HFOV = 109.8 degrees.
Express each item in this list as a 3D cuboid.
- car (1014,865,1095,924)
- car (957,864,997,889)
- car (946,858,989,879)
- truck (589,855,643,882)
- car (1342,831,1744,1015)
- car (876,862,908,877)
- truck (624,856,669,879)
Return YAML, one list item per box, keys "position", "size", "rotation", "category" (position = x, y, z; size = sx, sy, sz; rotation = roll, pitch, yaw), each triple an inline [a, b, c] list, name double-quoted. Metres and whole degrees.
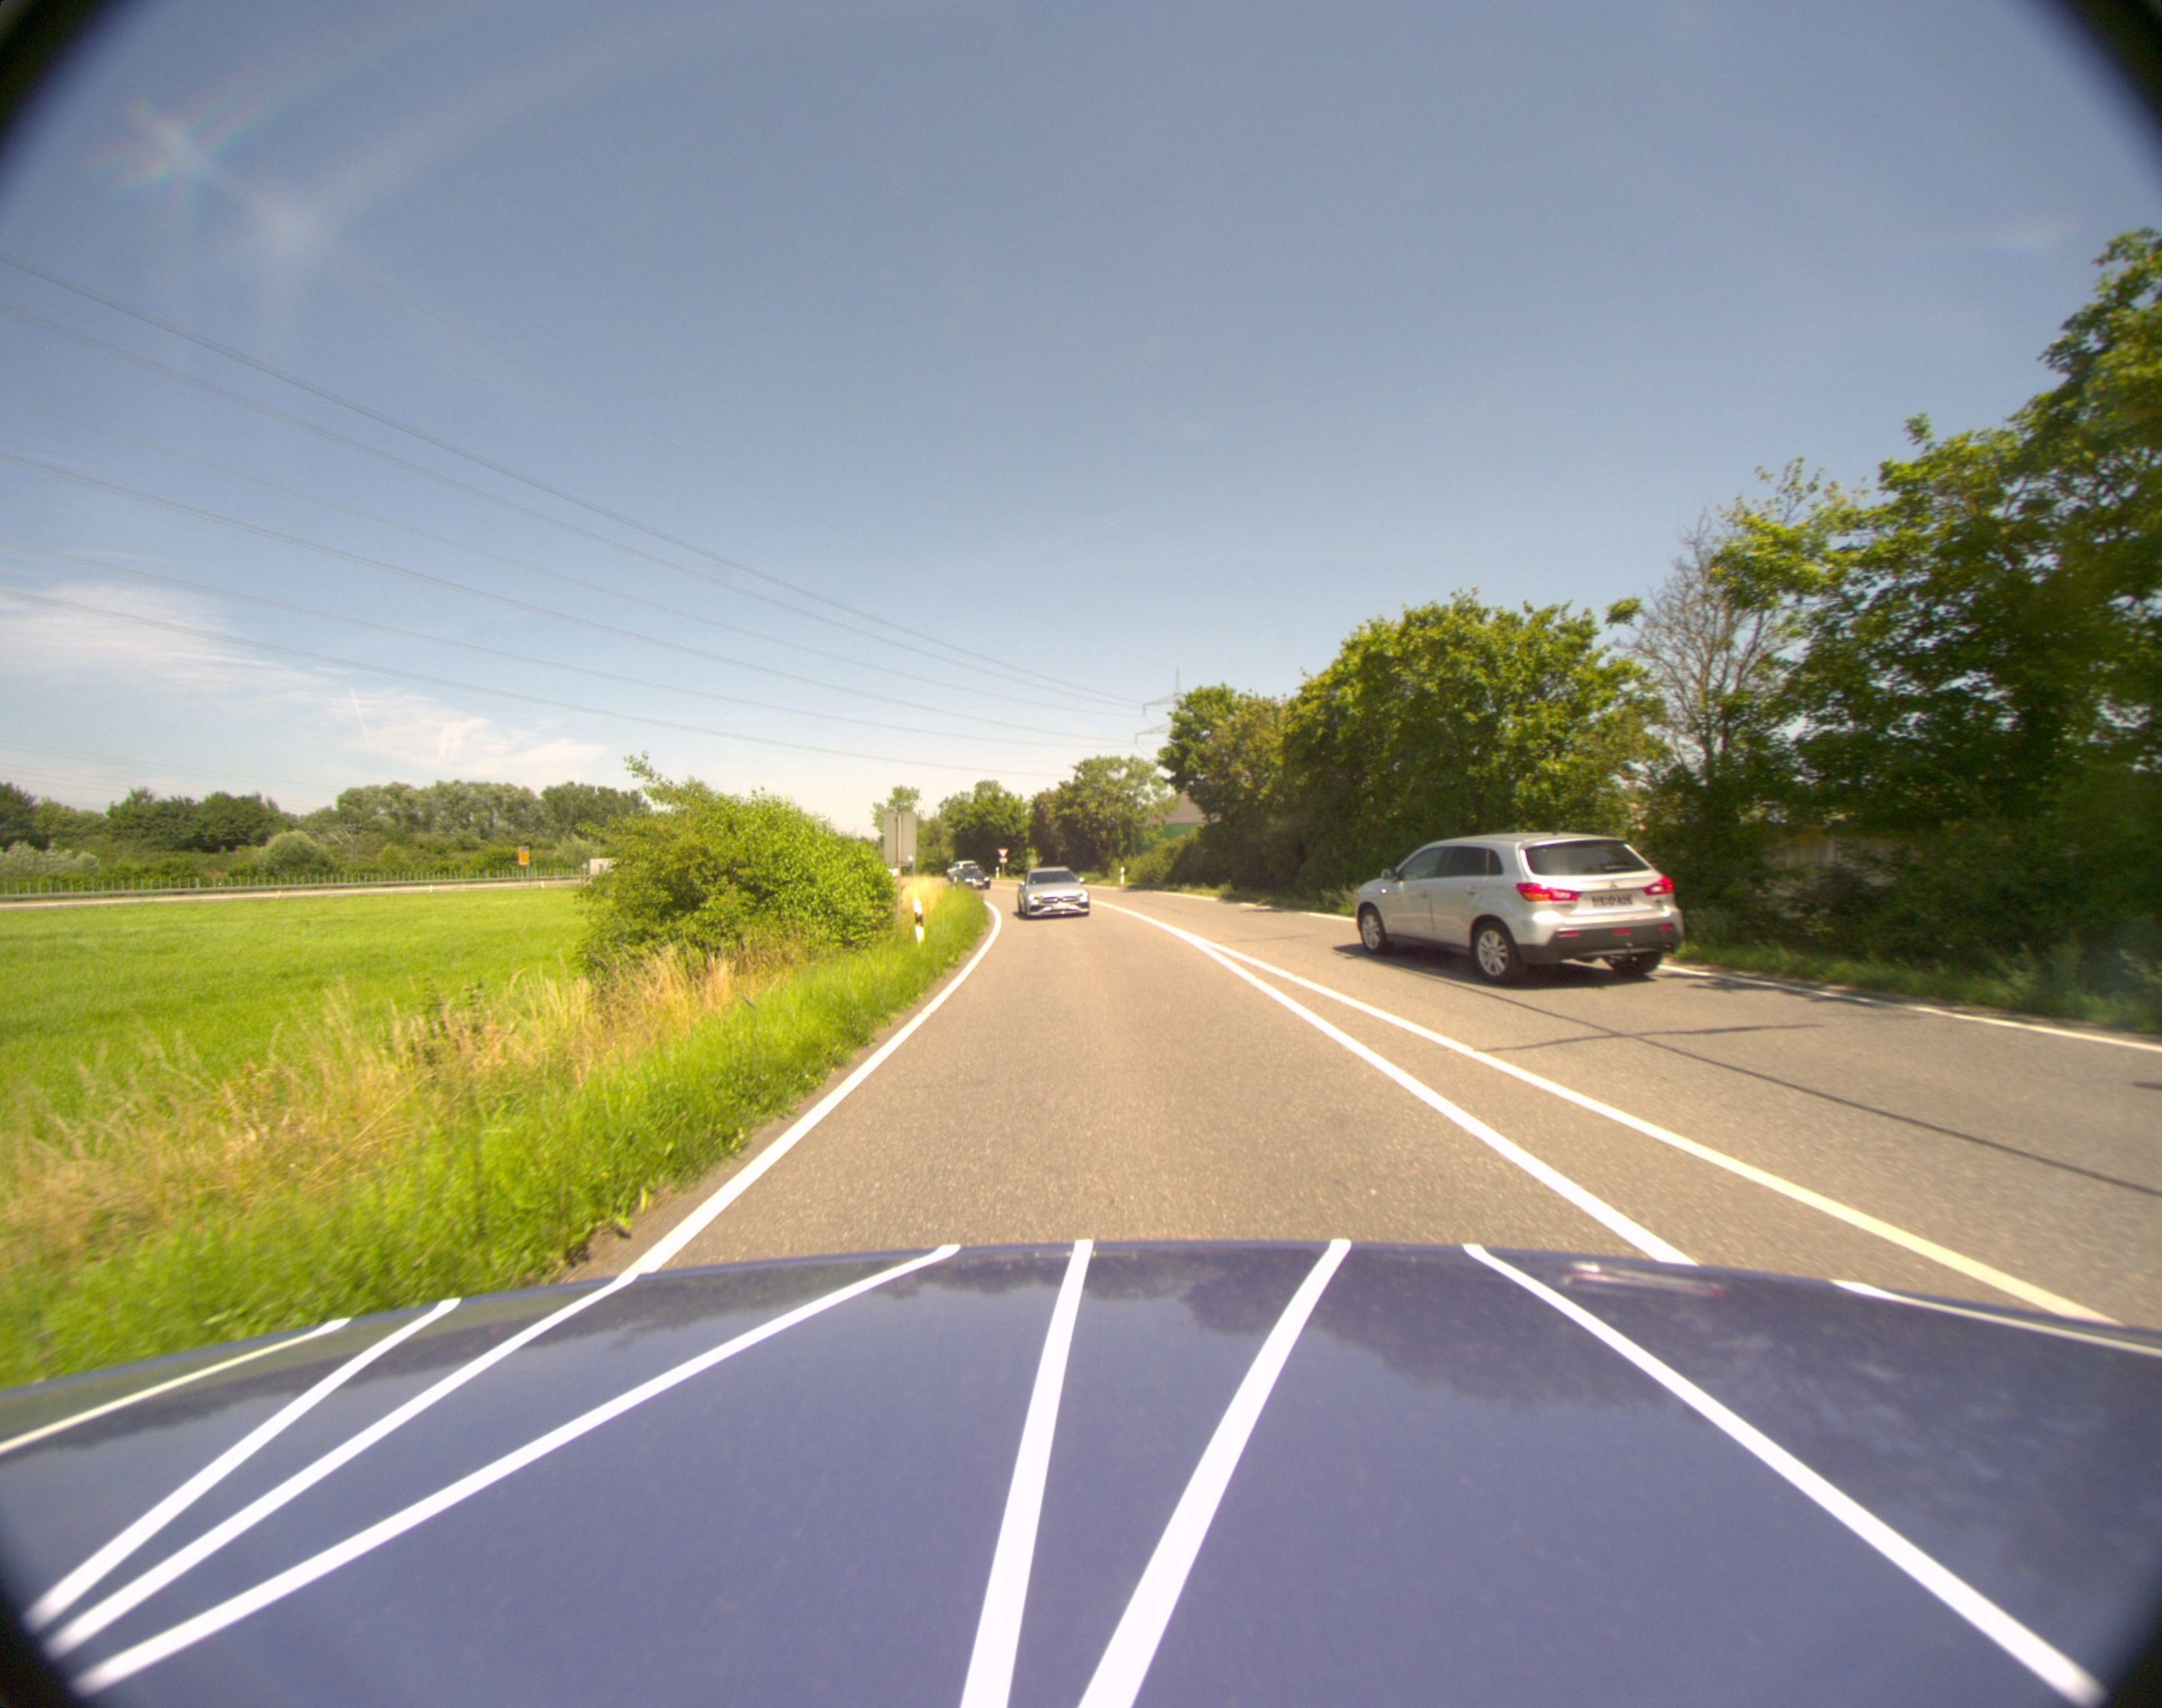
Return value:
- position: [-0.899, 1.127, 22.932]
  size: [1.825, 1.478, 4.145]
  rotation: [-4, 0, -9]
  category: "car"
- position: [-6.659, 1.377, 48.359]
  size: [1.827, 1.431, 4.143]
  rotation: [-2, 0, -17]
  category: "car"
- position: [-9.700, 1.256, 64.535]
  size: [1.863, 1.592, 4.767]
  rotation: [-4, 1, -31]
  category: "car"
- position: [-65.950, 2.111, 107.708]
  size: [9.528, 3.559, 2.730]
  rotation: [-1, 2, 35]
  category: "truck"
- position: [5.019, 0.633, 9.199]
  size: [1.746, 1.580, 4.528]
  rotation: [-3, 0, -5]
  category: "car"
- position: [-20.019, 1.655, 80.272]
  size: [3.597, 1.435, 1.544]
  rotation: [-1, 4, 45]
  category: "car"
- position: [-68.454, 2.093, 119.629]
  size: [7.589, 3.451, 2.615]
  rotation: [-2, 0, 31]
  category: "truck"
